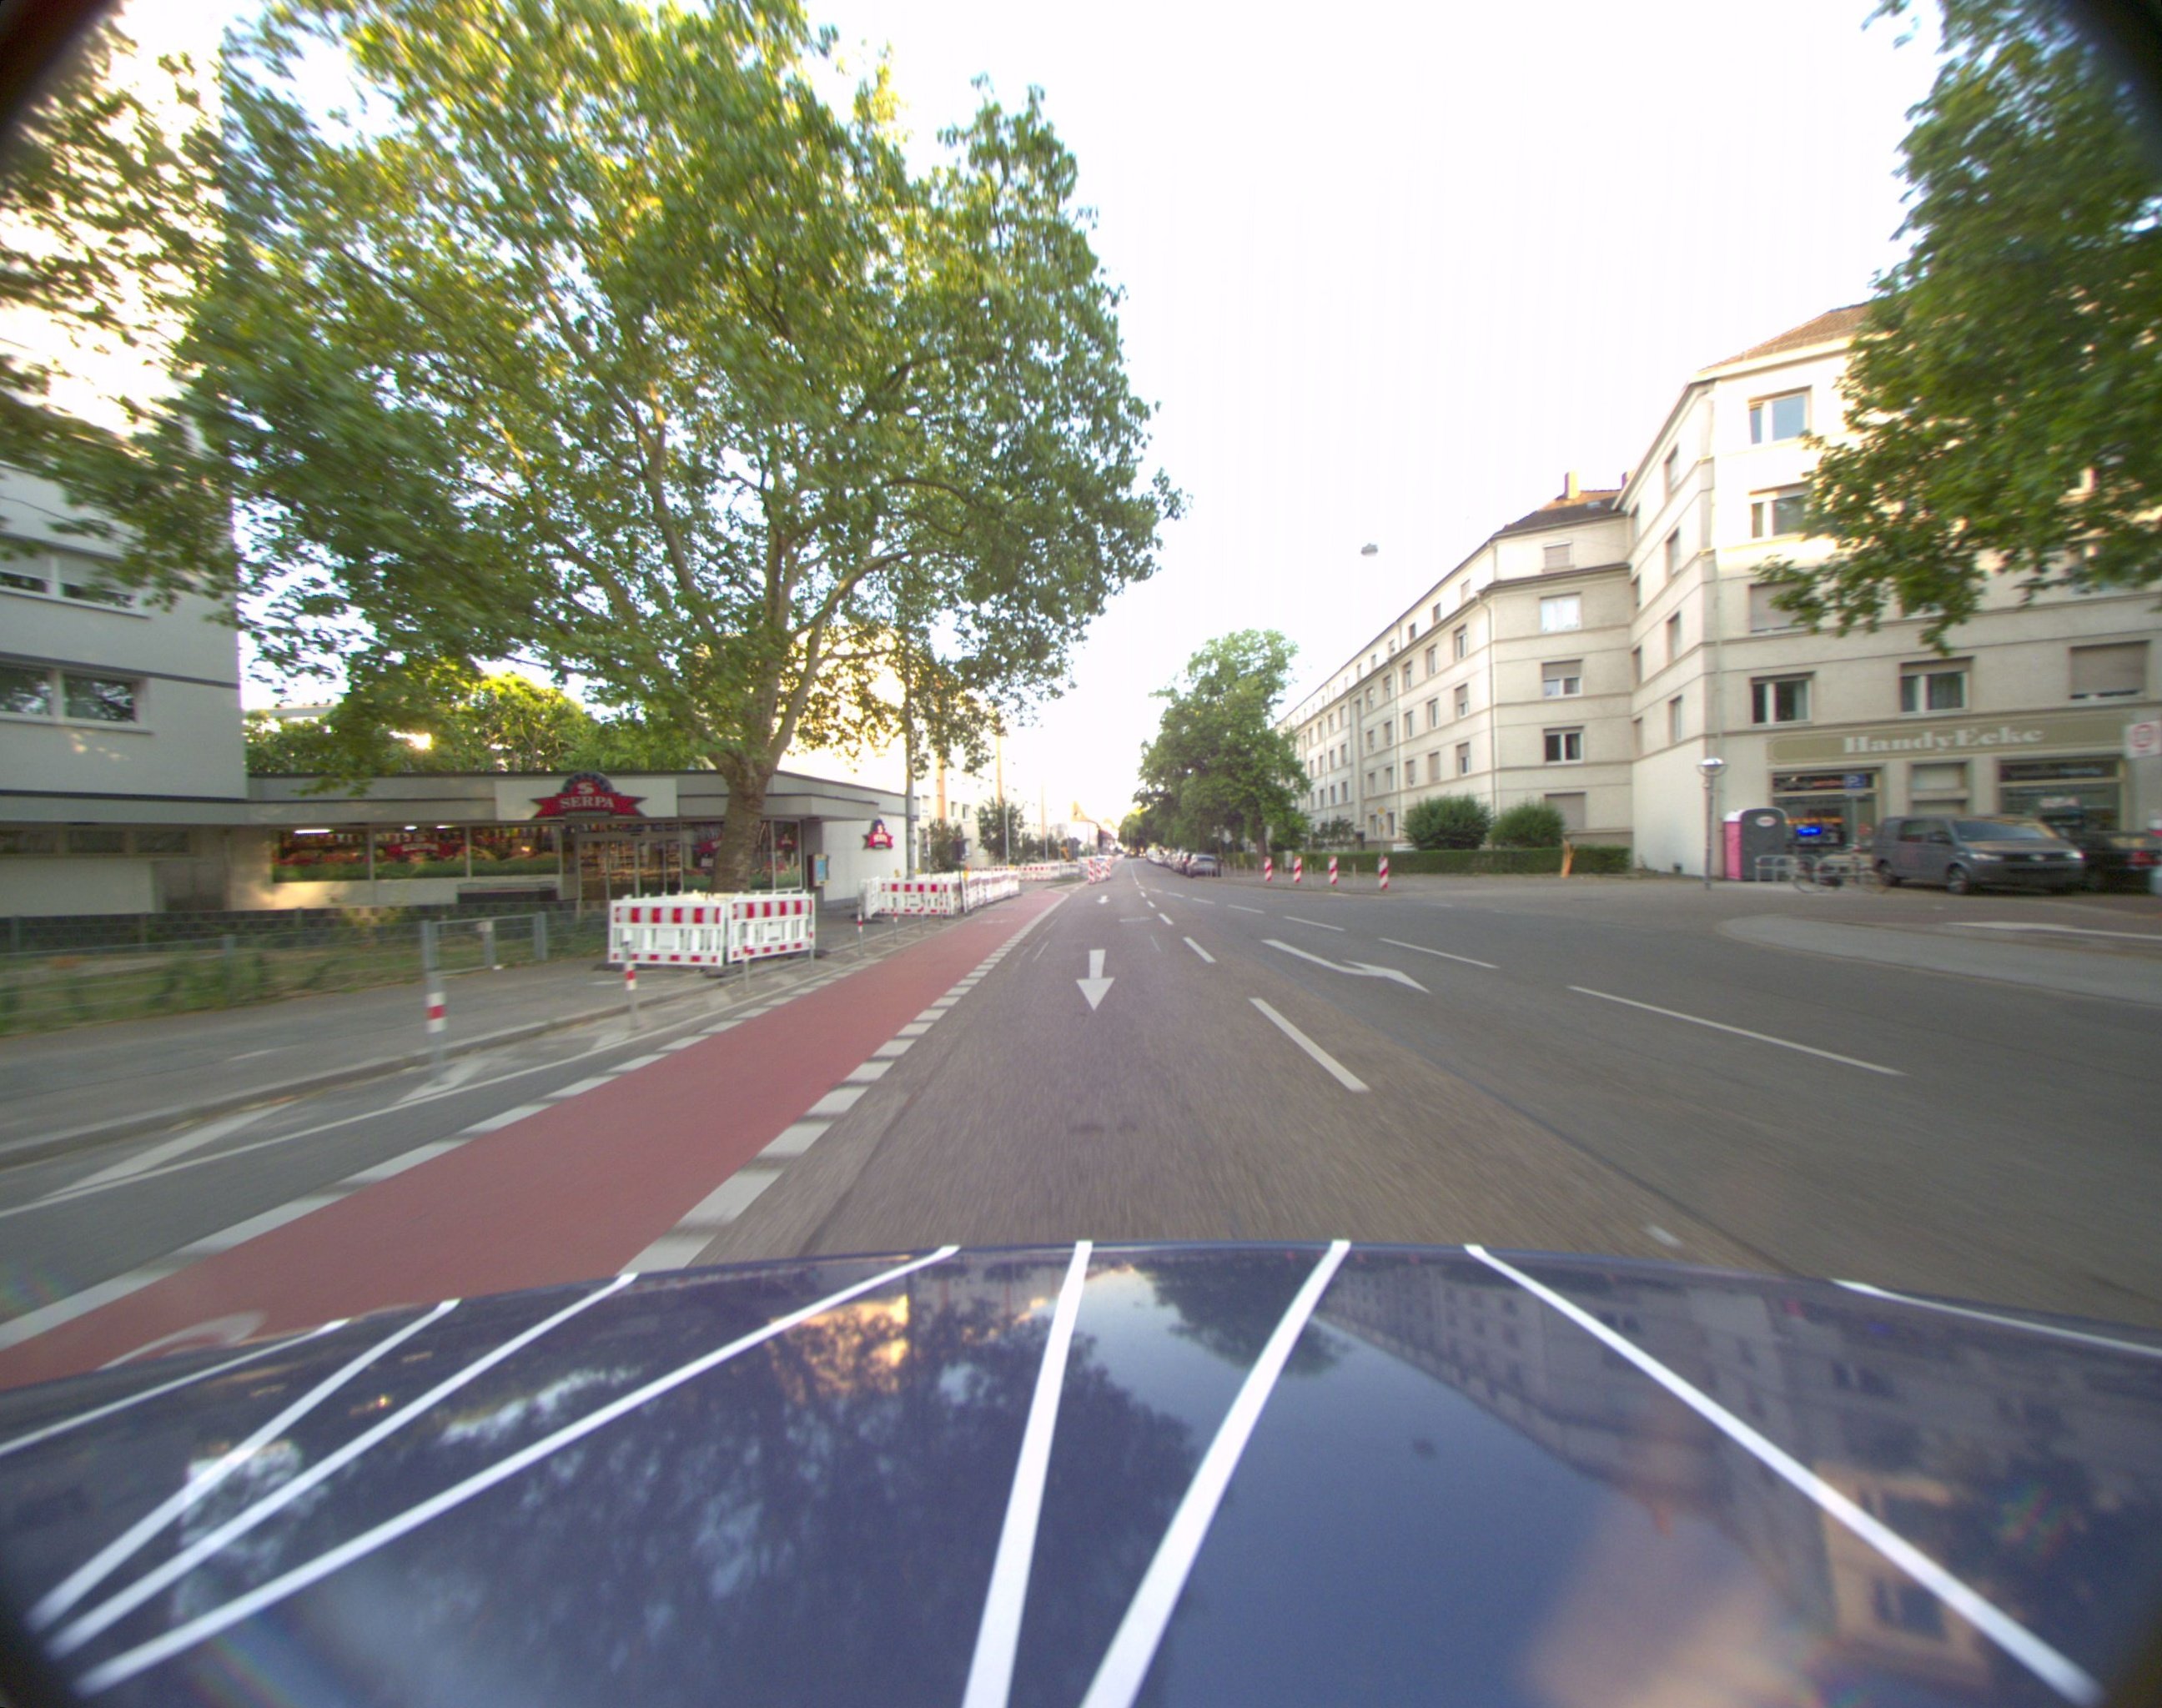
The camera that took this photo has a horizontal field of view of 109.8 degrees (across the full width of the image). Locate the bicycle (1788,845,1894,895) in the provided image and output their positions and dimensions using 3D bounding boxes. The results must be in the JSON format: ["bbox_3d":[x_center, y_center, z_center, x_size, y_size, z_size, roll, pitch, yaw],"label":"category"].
[{"bbox_3d":[19.341,0.414,19.383,1.802,1.199,0.648,-2,2,33],"label":"bicycle"}]

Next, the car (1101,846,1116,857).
[{"bbox_3d":[4.256,-0.429,117.628,1.892,1.651,4.260,-2,1,6],"label":"car"}]

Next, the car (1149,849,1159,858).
[{"bbox_3d":[14.056,-0.076,146.286,1.892,1.591,4.260,-2,1,6],"label":"car"}]

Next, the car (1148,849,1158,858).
[{"bbox_3d":[15.354,-0.129,161.868,1.892,1.591,4.260,-2,1,6],"label":"car"}]

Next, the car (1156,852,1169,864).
[{"bbox_3d":[12.199,0.543,113.658,1.892,1.591,4.260,-2,1,6],"label":"car"}]

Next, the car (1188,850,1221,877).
[{"bbox_3d":[8.078,0.590,49.983,1.892,1.591,4.001,-2,1,6],"label":"car"}]

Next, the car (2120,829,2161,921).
[{"bbox_3d":[18.059,0.308,10.445,1.996,1.494,4.647,0,-1,15],"label":"car"}]

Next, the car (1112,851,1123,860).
[{"bbox_3d":[7.236,0.256,152.018,1.892,1.591,4.260,-2,1,6],"label":"car"}]

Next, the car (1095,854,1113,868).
[{"bbox_3d":[2.941,0.845,96.833,1.892,1.591,4.260,-2,1,6],"label":"car"}]

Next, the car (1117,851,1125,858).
[{"bbox_3d":[10.541,0.102,201.501,1.892,1.591,4.260,-2,1,6],"label":"car"}]

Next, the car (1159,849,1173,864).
[{"bbox_3d":[11.613,0.367,103.987,1.892,1.855,4.260,-2,1,6],"label":"car"}]

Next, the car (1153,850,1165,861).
[{"bbox_3d":[13.234,0.230,128.579,1.892,1.591,4.260,-2,1,6],"label":"car"}]

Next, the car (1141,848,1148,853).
[{"bbox_3d":[21.070,-1.166,252.185,1.998,1.838,3.999,-3,1,0],"label":"car"}]

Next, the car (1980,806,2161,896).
[{"bbox_3d":[24.903,-0.154,18.495,1.995,1.945,4.646,0,3,24],"label":"car"}]

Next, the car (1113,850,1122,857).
[{"bbox_3d":[8.670,-0.110,180.630,1.892,1.591,4.260,-2,1,6],"label":"car"}]

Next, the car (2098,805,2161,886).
[{"bbox_3d":[27.053,-0.187,17.676,1.995,1.945,4.646,0,3,24],"label":"car"}]

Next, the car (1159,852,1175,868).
[{"bbox_3d":[10.751,0.687,95.023,1.892,1.815,4.260,-2,1,6],"label":"car"}]

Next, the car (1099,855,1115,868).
[{"bbox_3d":[3.771,1.033,109.118,1.892,1.726,4.260,-2,1,6],"label":"car"}]

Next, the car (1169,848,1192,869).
[{"bbox_3d":[9.296,0.360,71.198,1.892,1.764,4.260,-2,1,6],"label":"car"}]

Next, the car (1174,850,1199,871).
[{"bbox_3d":[9.017,0.565,65.252,1.892,1.591,4.260,-2,1,6],"label":"car"}]

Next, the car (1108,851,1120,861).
[{"bbox_3d":[5.991,0.313,137.159,1.892,1.591,4.260,-2,1,6],"label":"car"}]

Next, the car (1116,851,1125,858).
[{"bbox_3d":[9.965,0.023,192.262,1.892,1.591,4.260,-2,1,6],"label":"car"}]

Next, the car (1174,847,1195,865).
[{"bbox_3d":[10.404,0.178,76.694,1.892,1.591,4.260,-2,1,6],"label":"car"}]

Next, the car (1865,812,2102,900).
[{"bbox_3d":[22.550,-0.054,19.321,1.995,1.945,4.646,0,3,24],"label":"car"}]

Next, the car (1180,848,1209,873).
[{"bbox_3d":[8.599,0.443,57.953,1.892,1.681,4.260,-2,1,6],"label":"car"}]
